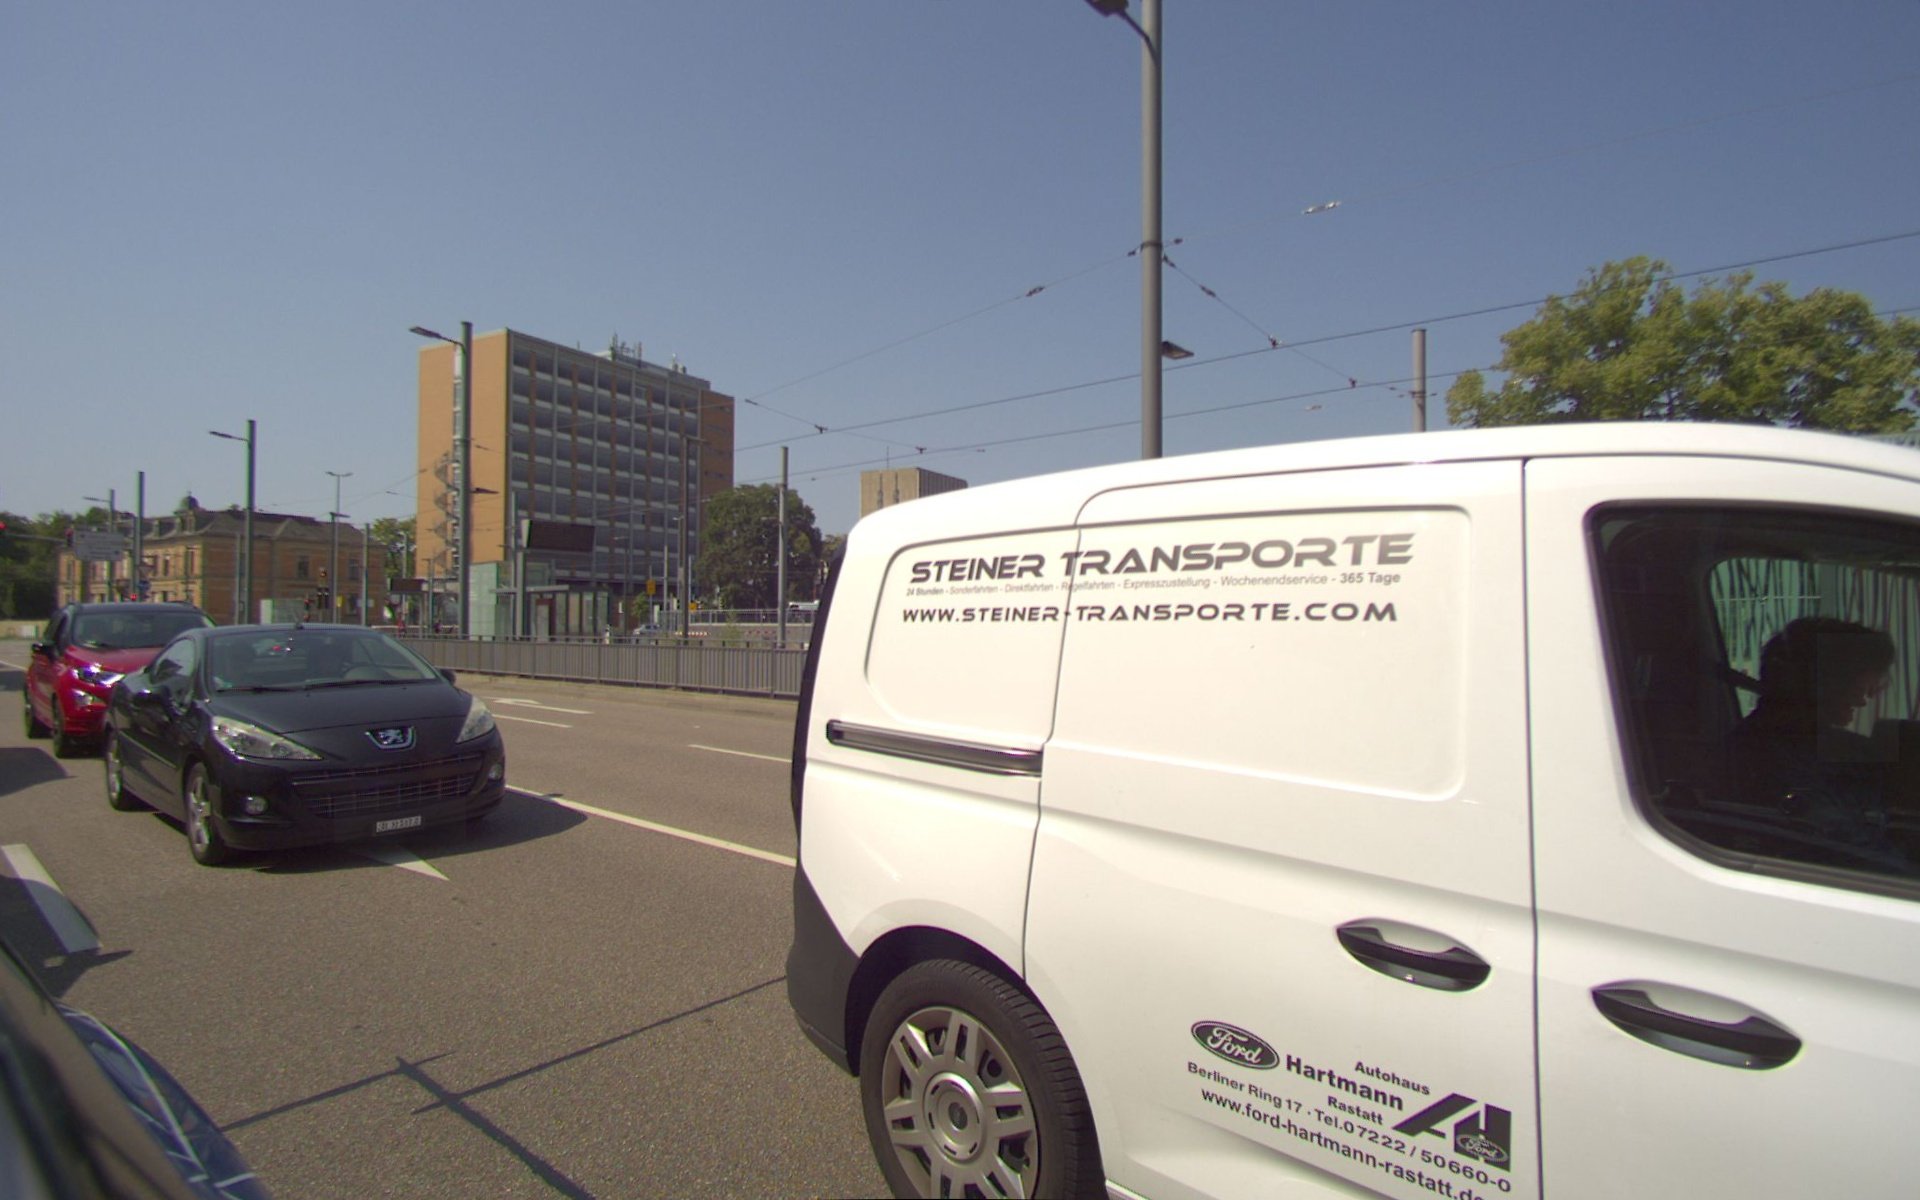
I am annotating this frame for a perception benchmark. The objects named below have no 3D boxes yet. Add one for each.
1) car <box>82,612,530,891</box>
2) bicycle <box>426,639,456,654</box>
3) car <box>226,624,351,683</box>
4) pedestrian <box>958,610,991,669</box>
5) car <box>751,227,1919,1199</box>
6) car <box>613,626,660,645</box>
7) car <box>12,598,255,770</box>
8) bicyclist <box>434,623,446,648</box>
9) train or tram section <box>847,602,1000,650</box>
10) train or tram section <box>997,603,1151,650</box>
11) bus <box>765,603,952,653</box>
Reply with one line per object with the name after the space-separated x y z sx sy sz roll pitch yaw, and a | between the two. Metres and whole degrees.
-4.736 0.821 7.118 3.799 1.424 1.671 -1 -1 41 | car
-41.393 3.674 80.738 2.149 1.109 0.666 -1 0 -28 | bicycle
-18.005 1.388 27.048 4.573 1.446 1.727 -1 -3 43 | car
0.452 1.229 31.445 0.761 1.801 0.735 -2 -3 42 | pedestrian
1.617 0.494 1.849 4.237 1.834 1.729 -1 -1 41 | car
-29.625 3.240 92.630 3.815 1.597 1.693 -1 0 -33 | car
-9.543 0.833 11.582 3.967 1.633 1.612 -1 -1 43 | car
-41.468 2.836 80.720 0.845 1.916 0.666 -1 -1 -28 | bicyclist
-2.940 2.128 81.238 12.180 3.794 2.002 0 -2 -4 | train or tram section
9.207 2.166 82.138 12.180 3.794 2.002 0 -2 -4 | train or tram section
-7.296 1.992 73.628 13.205 3.319 3.354 -1 0 -4 | bus
